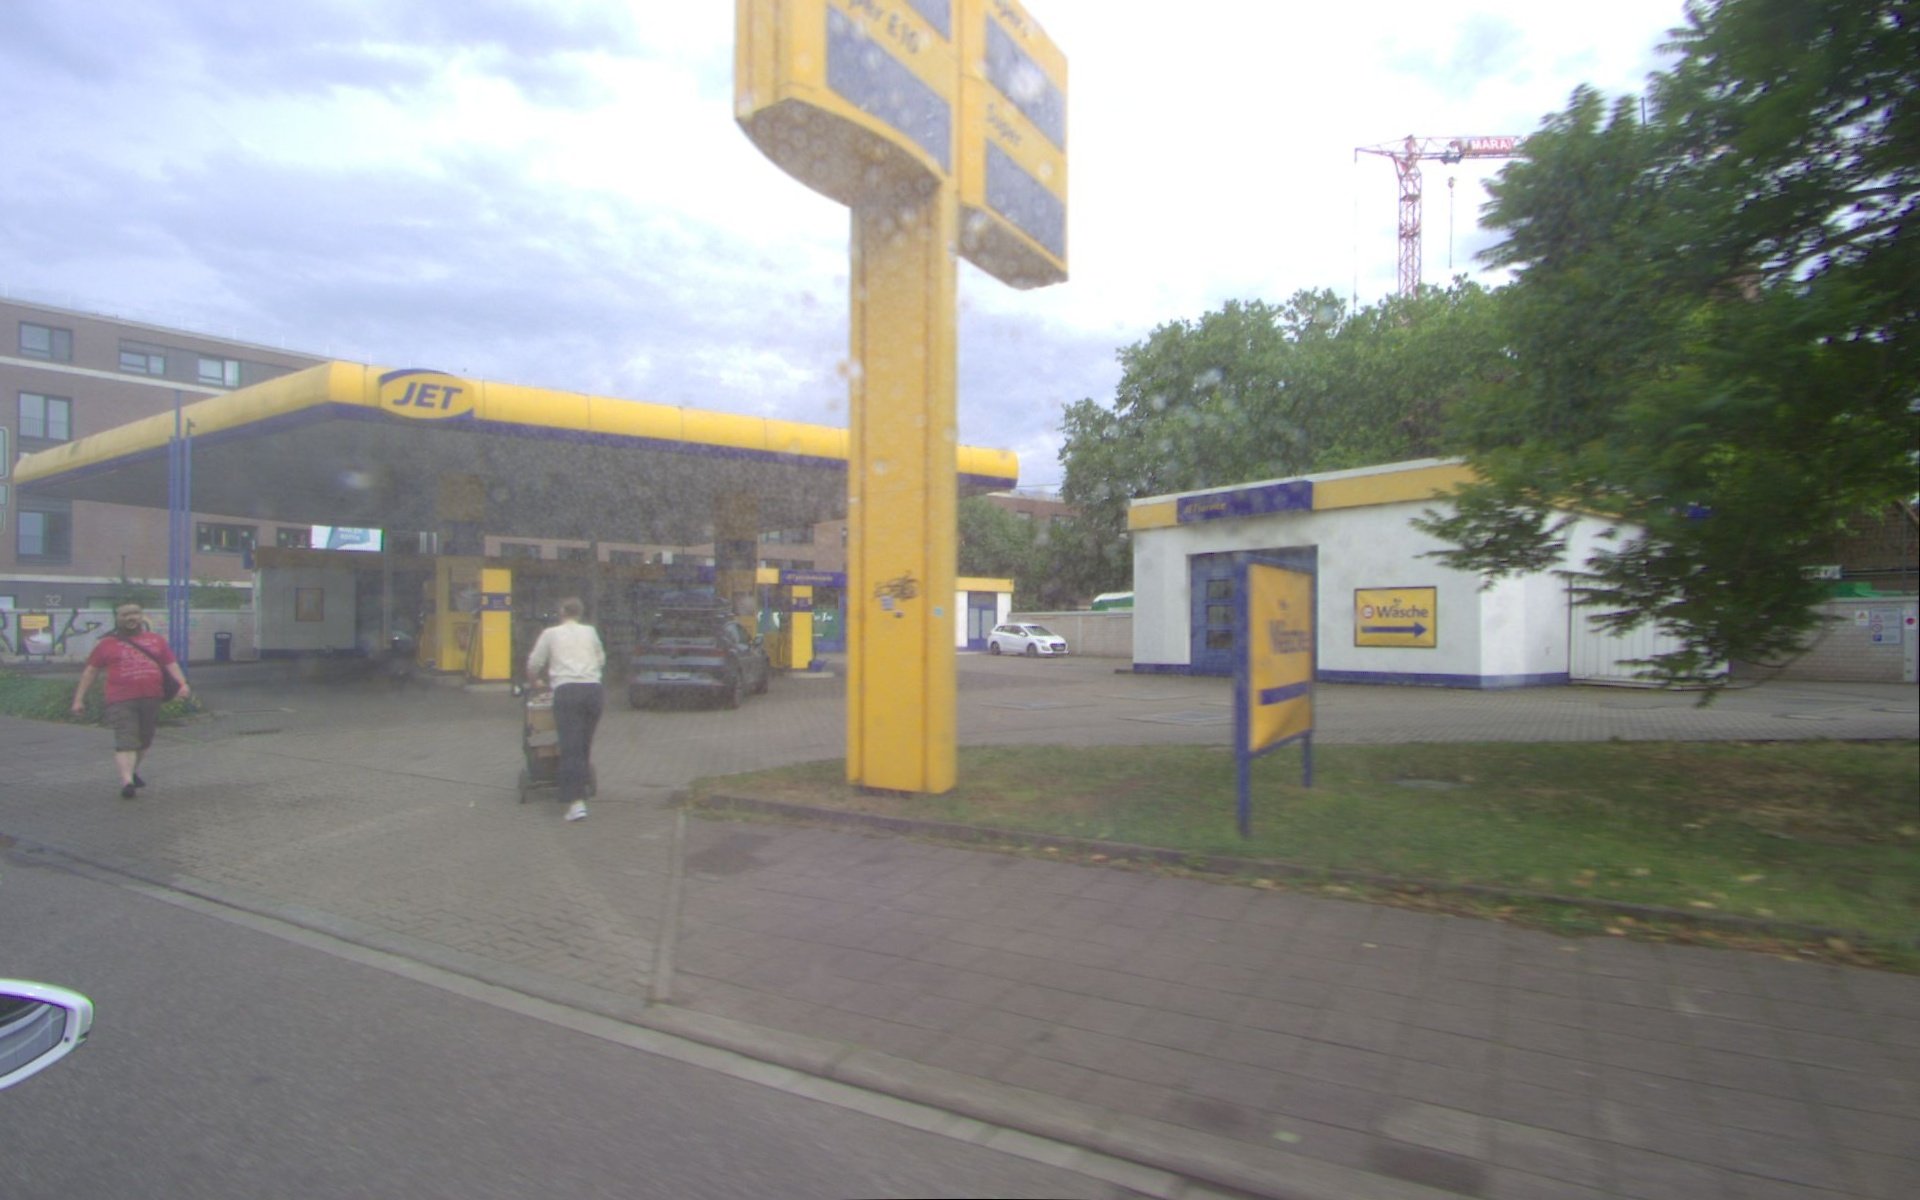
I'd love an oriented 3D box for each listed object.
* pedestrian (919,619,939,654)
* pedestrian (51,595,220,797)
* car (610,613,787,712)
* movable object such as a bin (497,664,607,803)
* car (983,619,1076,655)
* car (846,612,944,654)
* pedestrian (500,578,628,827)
[{"bbox_3d":[-1.240,1.476,40.135,0.573,1.363,0.607,2,-3,-36],"label":"pedestrian"},{"bbox_3d":[-7.709,0.846,9.382,0.849,1.761,0.969,-1,1,32],"label":"pedestrian"},{"bbox_3d":[-4.514,1.013,18.001,1.957,1.517,4.325,0,0,1],"label":"car"},{"bbox_3d":[-3.628,1.136,8.868,0.759,1.053,1.019,-2,1,-29],"label":"movable object such as a bin"},{"bbox_3d":[3.123,1.720,45.527,1.915,1.546,4.304,3,-4,-36],"label":"car"},{"bbox_3d":[-2.766,1.421,42.001,1.820,1.658,4.442,3,-4,-40],"label":"car"},{"bbox_3d":[-3.197,0.755,8.035,0.759,1.821,1.156,-2,1,-29],"label":"pedestrian"}]
